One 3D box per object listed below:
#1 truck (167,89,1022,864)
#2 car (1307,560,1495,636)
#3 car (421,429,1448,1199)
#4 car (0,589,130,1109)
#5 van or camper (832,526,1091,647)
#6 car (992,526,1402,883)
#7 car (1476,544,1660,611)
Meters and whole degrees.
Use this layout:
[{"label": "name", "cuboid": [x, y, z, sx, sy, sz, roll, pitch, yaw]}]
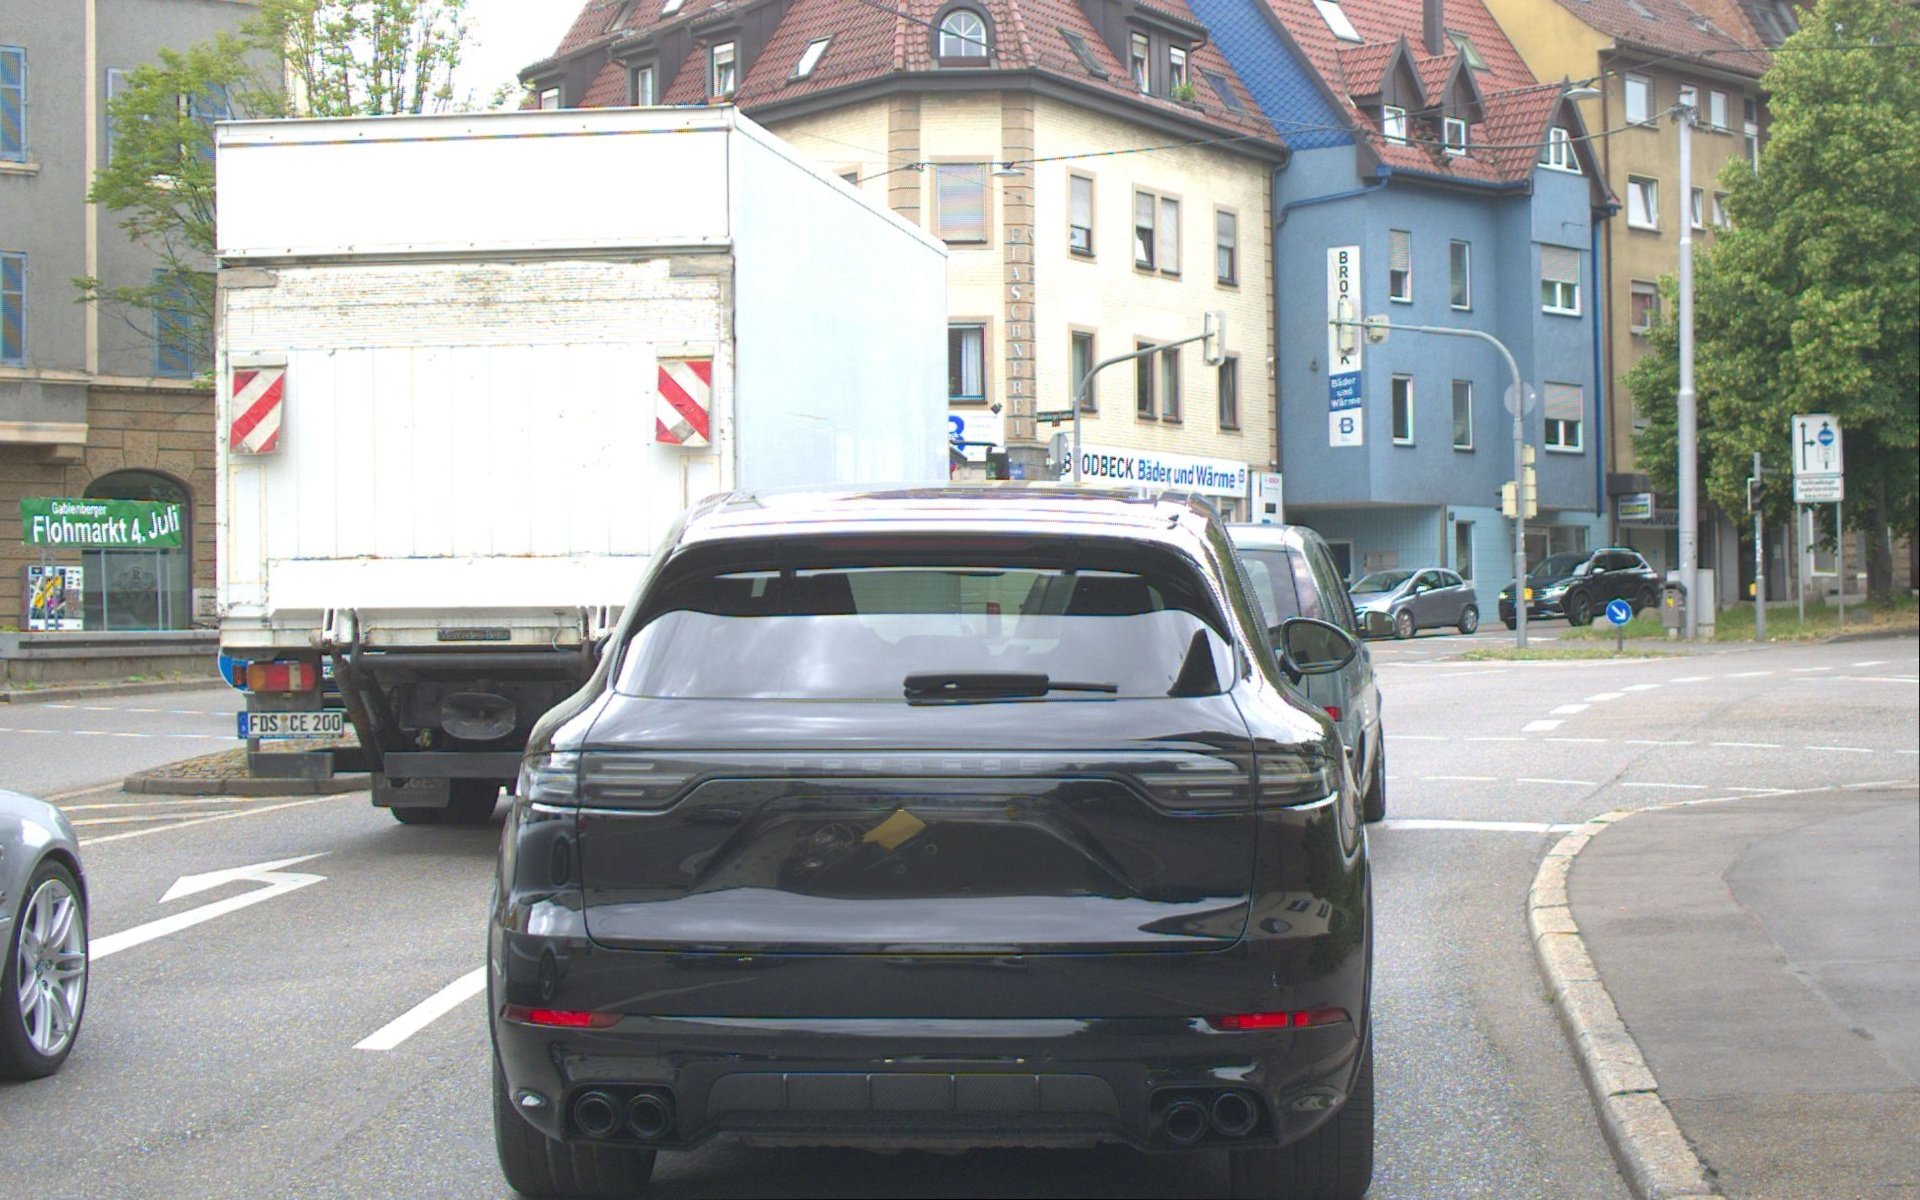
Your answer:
[{"label": "truck", "cuboid": [-1.650, -0.645, 20.051, 2.726, 3.532, 8.418, 1, 1, 10]}, {"label": "car", "cuboid": [9.097, -0.050, 70.705, 1.720, 1.471, 4.208, -2, -1, 42]}, {"label": "car", "cuboid": [-0.081, 0.471, 9.093, 2.031, 1.717, 4.500, 0, 1, -1]}, {"label": "car", "cuboid": [-3.445, 0.704, 8.181, 1.629, 1.360, 4.128, -1, 1, 5]}, {"label": "van or camper", "cuboid": [-0.030, -0.248, 59.934, 1.994, 2.007, 4.829, 0, 0, -37]}, {"label": "car", "cuboid": [1.262, 0.442, 16.890, 1.649, 1.550, 3.581, 0, 0, 10]}, {"label": "car", "cuboid": [13.460, -0.483, 75.934, 1.874, 1.411, 4.687, -1, -1, 40]}]
